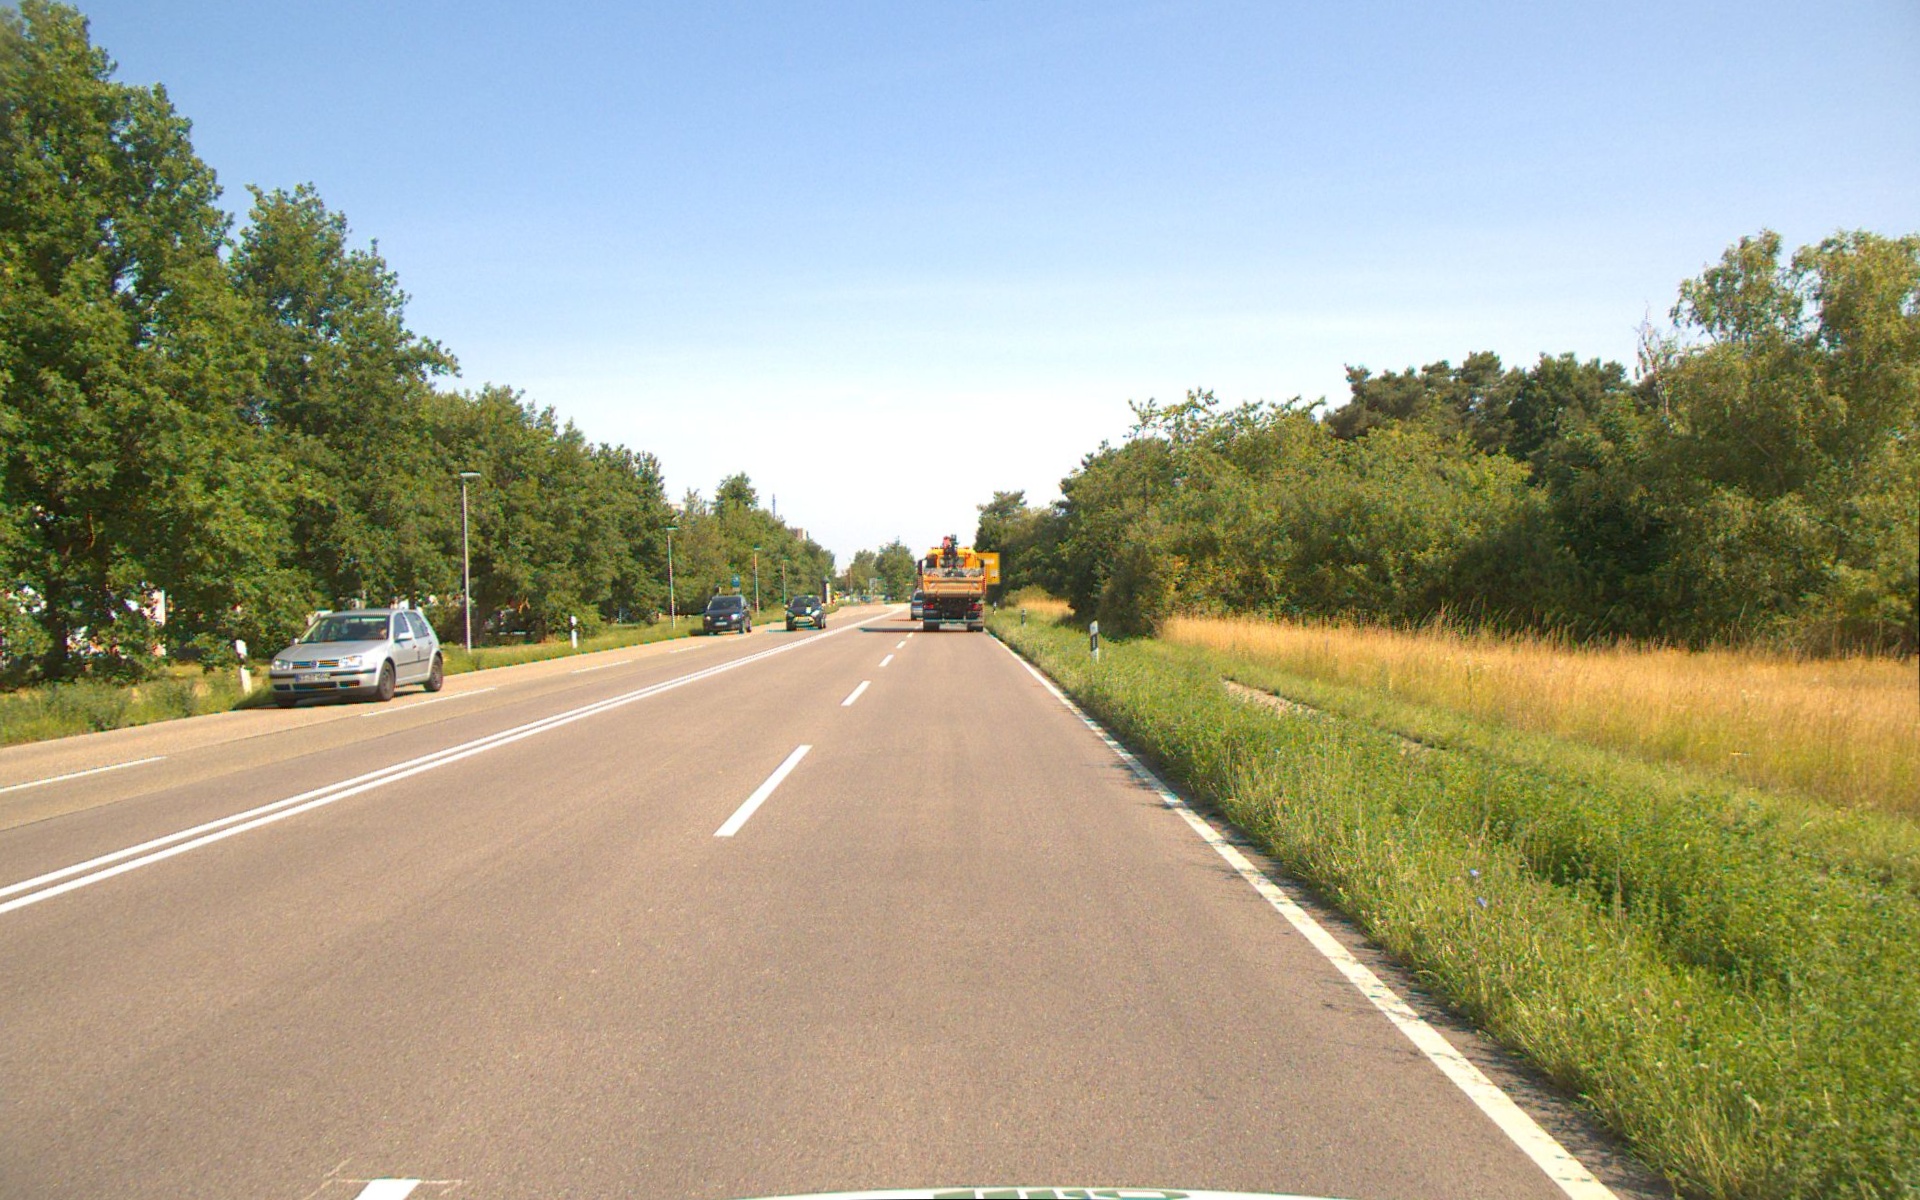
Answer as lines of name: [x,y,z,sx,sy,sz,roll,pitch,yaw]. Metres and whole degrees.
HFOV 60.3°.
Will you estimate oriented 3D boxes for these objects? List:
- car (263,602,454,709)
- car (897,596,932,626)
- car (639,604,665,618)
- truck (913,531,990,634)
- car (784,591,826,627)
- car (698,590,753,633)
car: [-9.515,0.827,26.483,1.566,1.467,3.999,-3,0,-1]
car: [-2.619,0.614,94.637,1.953,1.611,3.998,-1,1,-3]
car: [-35.883,1.290,192.733,1.952,1.462,4.955,-2,0,1]
truck: [-0.425,-0.689,67.921,2.814,3.948,7.396,1,0,-3]
car: [-6.850,0.382,73.345,1.486,1.475,3.774,-3,0,-1]
car: [-10.115,0.457,71.685,1.789,1.700,4.388,-3,0,-2]
